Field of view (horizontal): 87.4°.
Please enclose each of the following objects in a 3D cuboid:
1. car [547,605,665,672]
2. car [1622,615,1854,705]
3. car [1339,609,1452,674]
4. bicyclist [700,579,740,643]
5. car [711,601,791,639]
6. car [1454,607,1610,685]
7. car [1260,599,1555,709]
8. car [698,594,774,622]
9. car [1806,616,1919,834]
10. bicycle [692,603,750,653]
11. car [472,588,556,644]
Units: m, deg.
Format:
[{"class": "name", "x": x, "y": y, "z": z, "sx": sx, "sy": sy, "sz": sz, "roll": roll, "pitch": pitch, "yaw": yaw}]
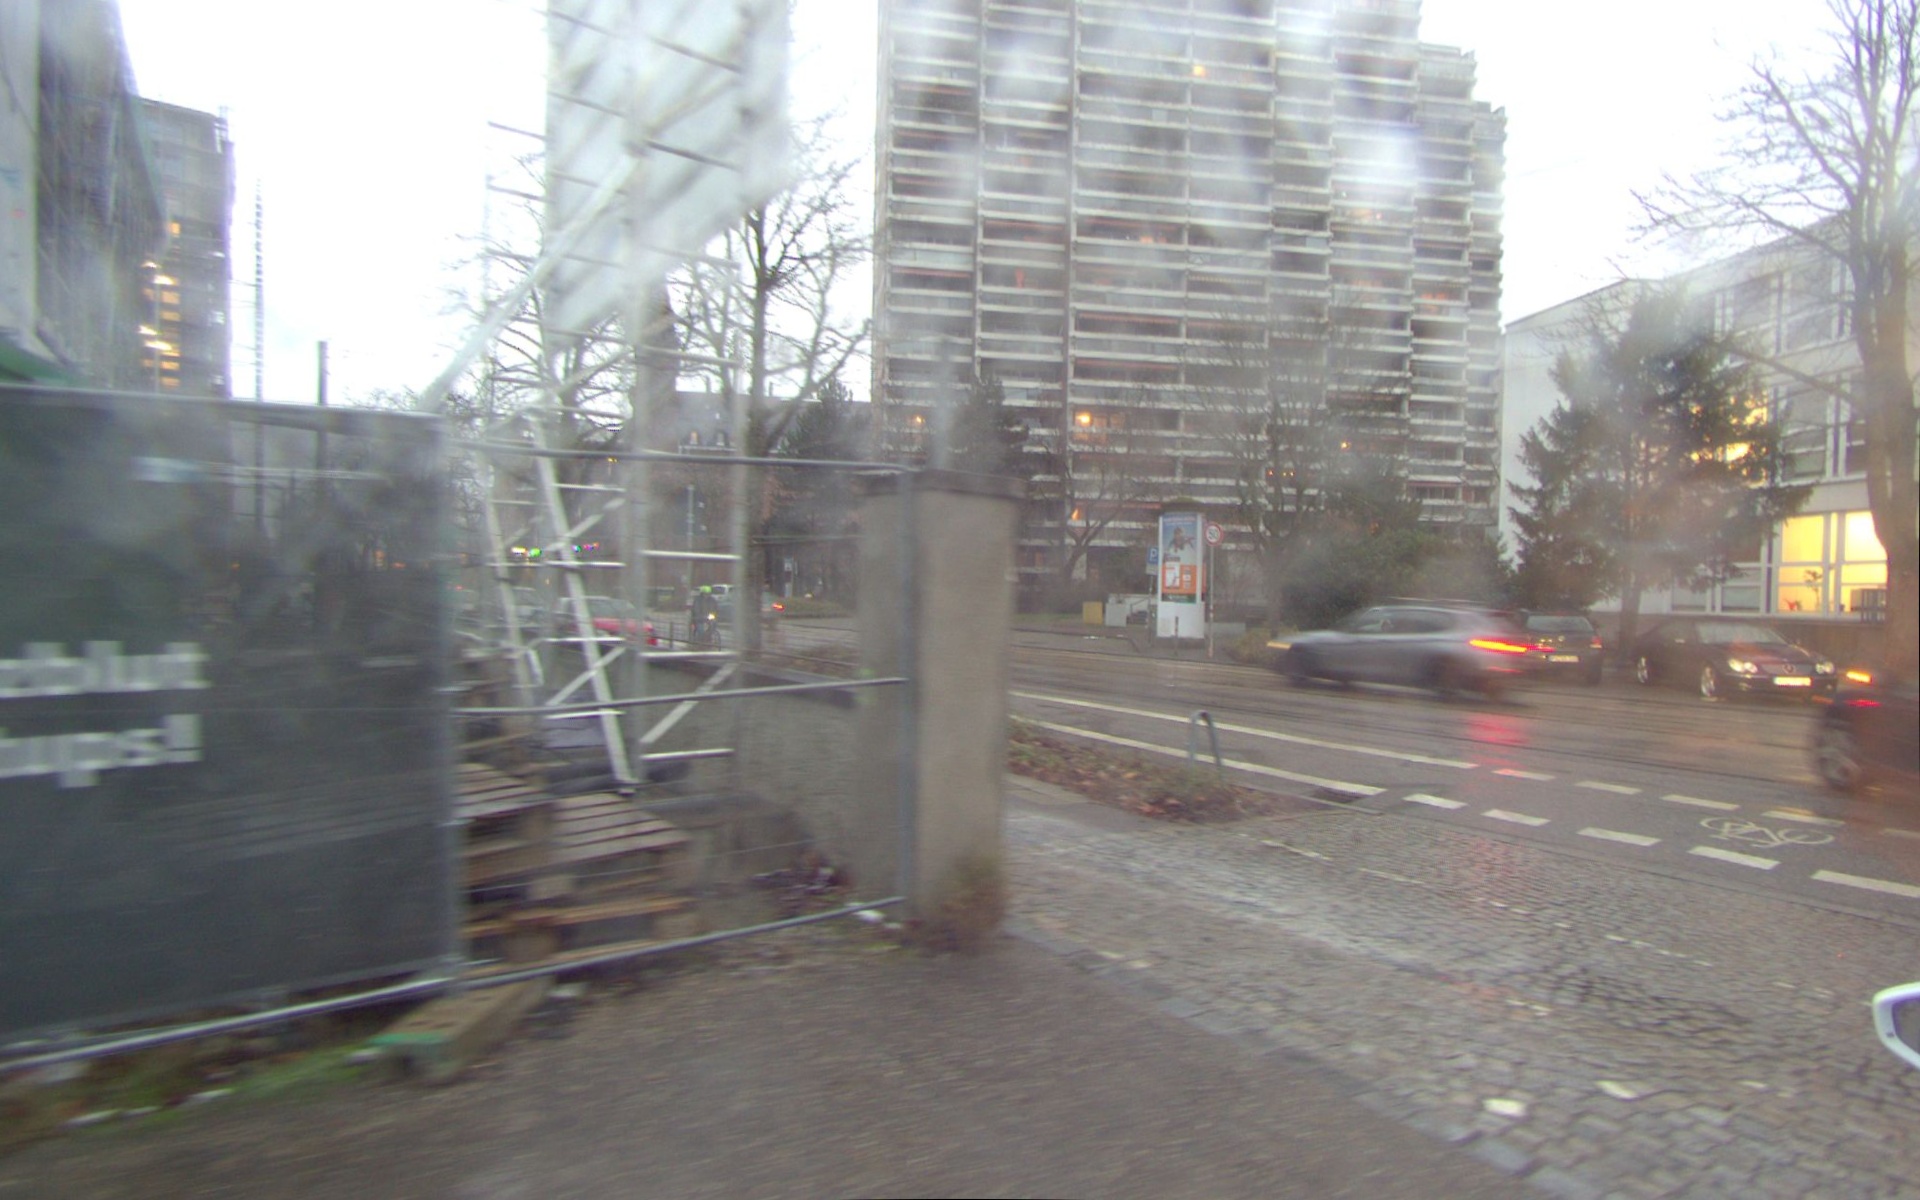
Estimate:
[{"class": "car", "x": -8.334, "y": 0.846, "z": 23.471, "sx": 1.736, "sy": 1.405, "sz": 3.701, "roll": 1, "pitch": -1, "yaw": -33}, {"class": "car", "x": 14.001, "y": 1.000, "z": 18.392, "sx": 1.818, "sy": 1.397, "sz": 4.002, "roll": 1, "pitch": 0, "yaw": 13}, {"class": "car", "x": 10.636, "y": 0.970, "z": 24.803, "sx": 1.818, "sy": 1.418, "sz": 4.002, "roll": 1, "pitch": 0, "yaw": 13}, {"class": "bicyclist", "x": -5.629, "y": 0.265, "z": 23.544, "sx": 0.651, "sy": 1.465, "sz": 0.842, "roll": 1, "pitch": 0, "yaw": -32}, {"class": "car", "x": -8.478, "y": 0.777, "z": 40.512, "sx": 1.749, "sy": 1.430, "sz": 3.961, "roll": 2, "pitch": -1, "yaw": -35}, {"class": "car", "x": 12.223, "y": 0.919, "z": 21.763, "sx": 1.818, "sy": 1.482, "sz": 4.002, "roll": 1, "pitch": 0, "yaw": 13}, {"class": "car", "x": 7.438, "y": 0.820, "z": 17.103, "sx": 1.696, "sy": 1.600, "sz": 4.334, "roll": 1, "pitch": 0, "yaw": -36}, {"class": "car", "x": -12.847, "y": 0.481, "z": 57.769, "sx": 3.952, "sy": 1.506, "sz": 1.659, "roll": 2, "pitch": 0, "yaw": -30}, {"class": "car", "x": 7.752, "y": 0.913, "z": 6.999, "sx": 1.720, "sy": 1.565, "sz": 4.292, "roll": 1, "pitch": -1, "yaw": 24}, {"class": "bicycle", "x": -5.631, "y": 0.644, "z": 23.546, "sx": 0.702, "sy": 1.111, "sz": 2.011, "roll": 1, "pitch": 0, "yaw": -32}, {"class": "car", "x": -13.598, "y": 0.460, "z": 30.532, "sx": 1.736, "sy": 1.605, "sz": 3.701, "roll": 1, "pitch": 0, "yaw": -33}]
